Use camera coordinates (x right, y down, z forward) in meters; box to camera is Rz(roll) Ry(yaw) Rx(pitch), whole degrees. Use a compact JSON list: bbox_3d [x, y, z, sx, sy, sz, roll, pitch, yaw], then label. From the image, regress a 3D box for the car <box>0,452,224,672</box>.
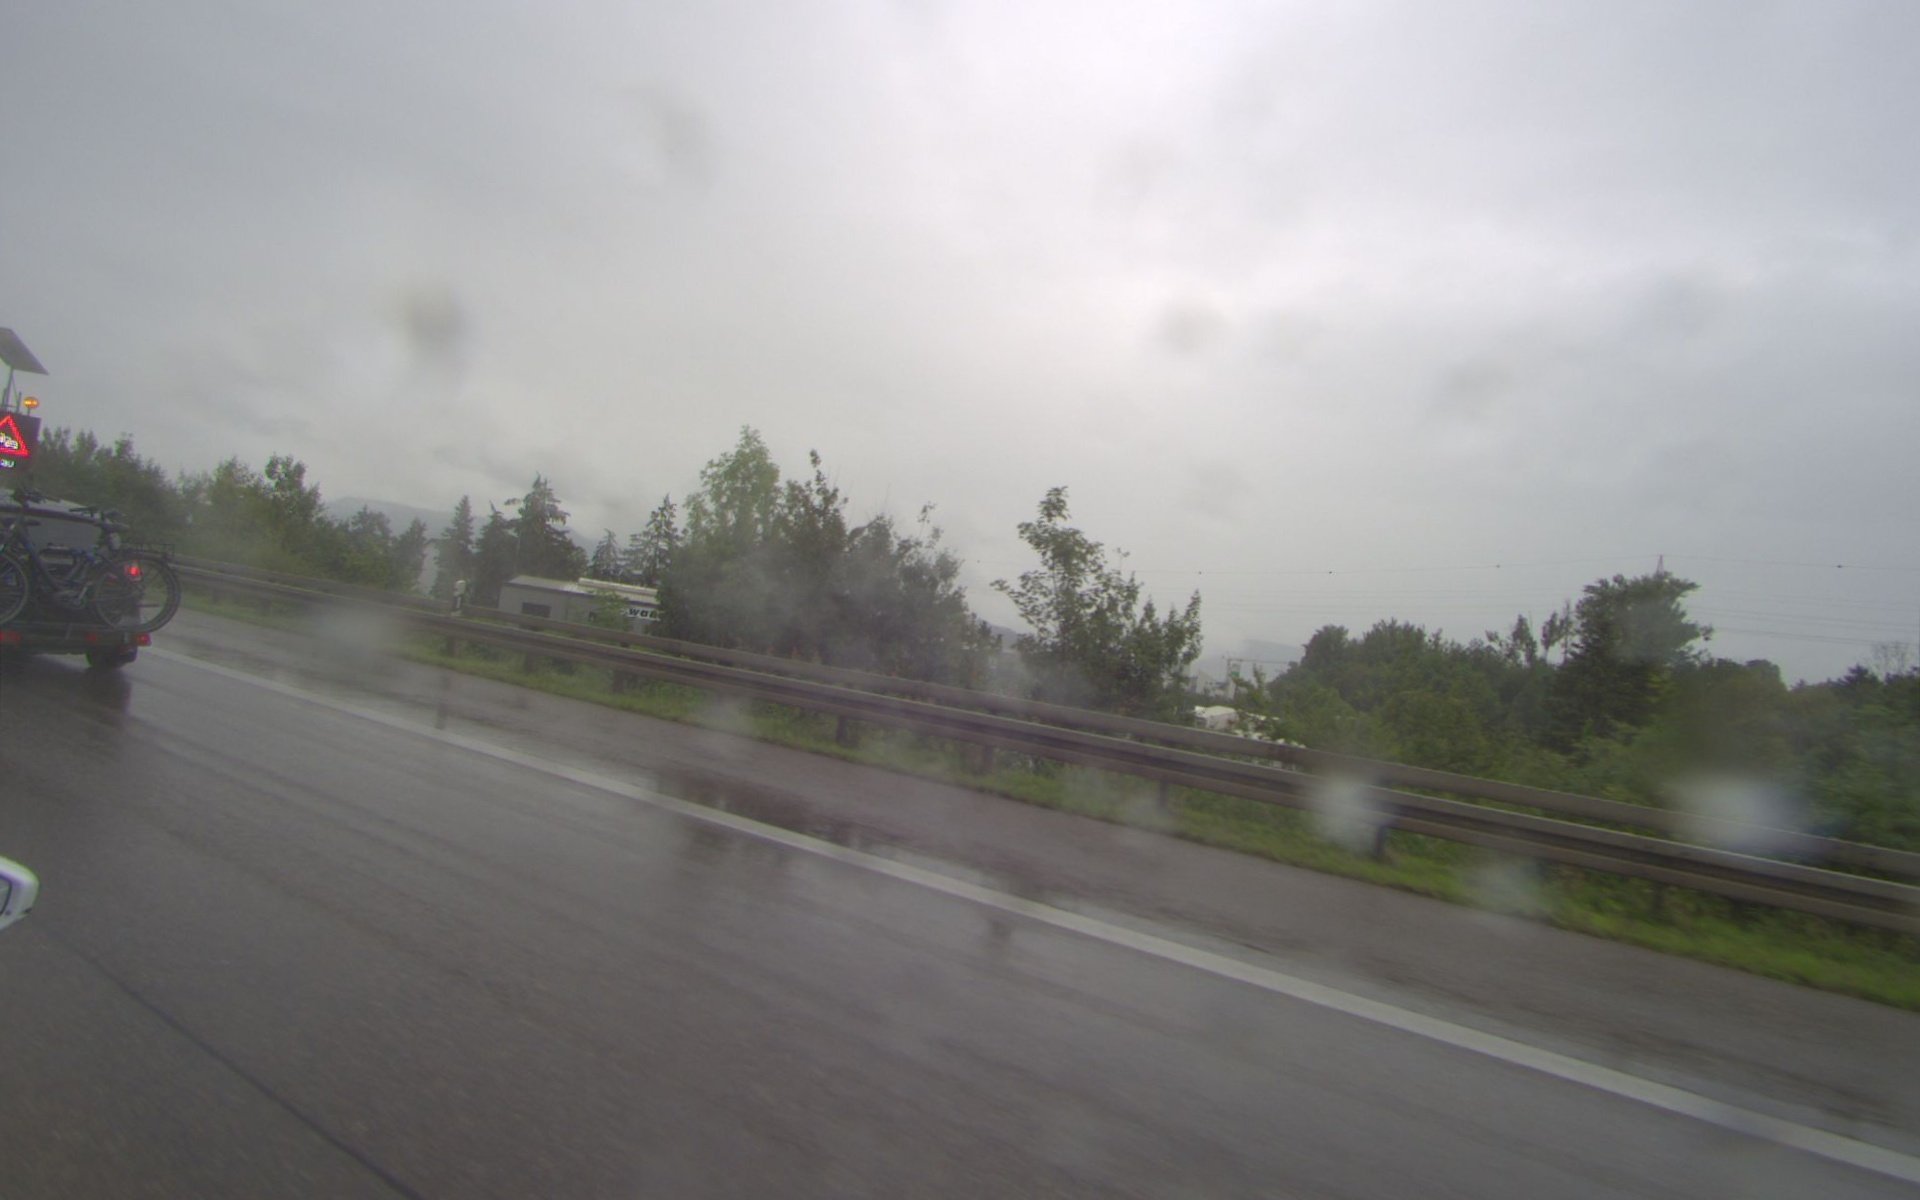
[{"bbox_3d":[-10.200,-0.581,10.166,5.625,1.766,2.462,7,-2,33],"label":"car"}]
